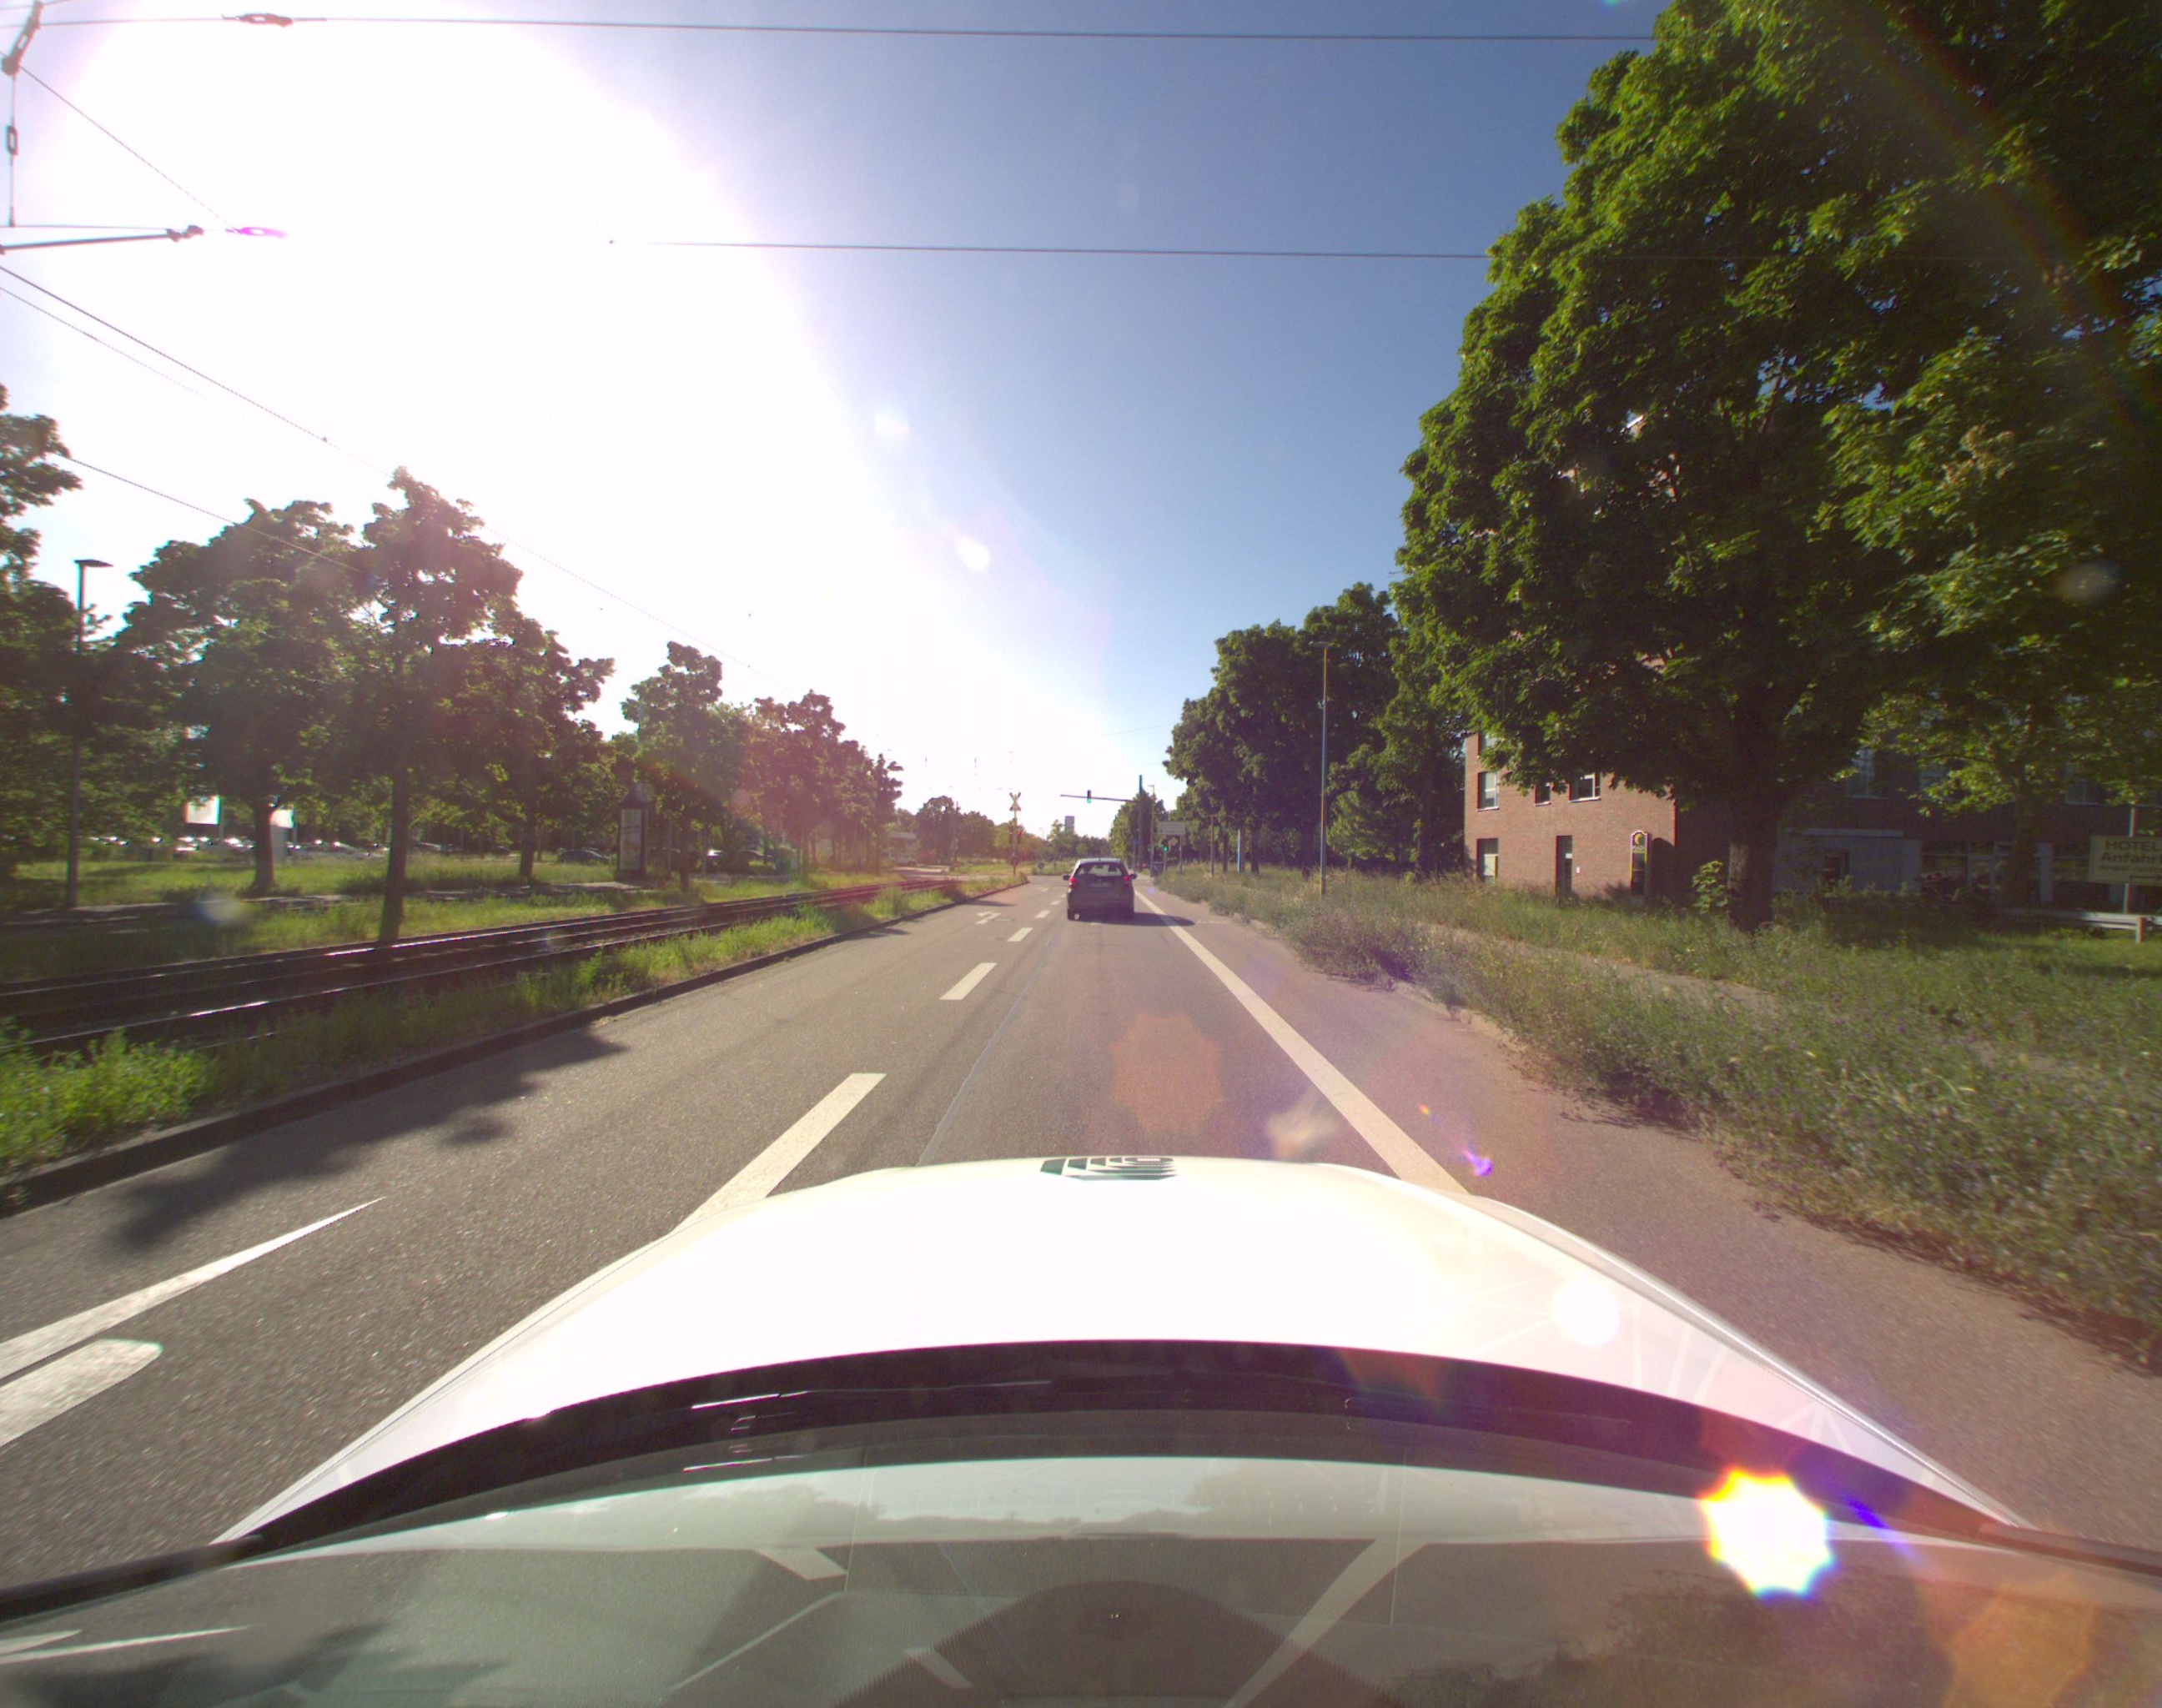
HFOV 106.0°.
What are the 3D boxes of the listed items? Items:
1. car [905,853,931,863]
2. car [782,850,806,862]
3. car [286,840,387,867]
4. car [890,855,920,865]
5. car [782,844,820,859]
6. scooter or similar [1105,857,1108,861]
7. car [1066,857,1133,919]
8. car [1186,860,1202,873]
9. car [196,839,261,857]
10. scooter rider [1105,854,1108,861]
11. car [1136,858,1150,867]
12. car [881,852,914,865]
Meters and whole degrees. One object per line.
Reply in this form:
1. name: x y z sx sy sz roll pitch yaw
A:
1. car: -28.099 0.710 140.518 4.060 1.568 1.791 1 0 -2
2. car: -39.353 0.263 111.693 1.570 1.544 4.093 1 0 4
3. car: -48.938 -0.025 53.633 4.430 1.640 1.977 1 0 -19
4. car: -27.732 0.942 128.542 1.769 1.528 4.499 0 0 38
5. car: -40.909 -0.382 119.076 4.707 2.091 2.020 1 0 -1
6. scooter or similar: 6.381 1.233 202.204 0.538 1.118 1.416 1 -1 -1
7. car: 0.529 0.828 21.259 1.617 1.500 3.459 0 0 3
8. car: 18.389 1.983 132.914 1.866 1.966 5.166 2 0 0
9. car: -82.359 -0.584 78.718 3.984 1.668 1.826 1 -1 -8
10. scooter rider: 6.333 0.852 202.128 0.714 1.901 0.934 1 -1 -2
11. car: 10.118 1.333 133.109 1.770 1.387 3.866 0 0 -3
12. car: -27.908 0.681 123.864 1.837 1.974 4.816 0 0 41
